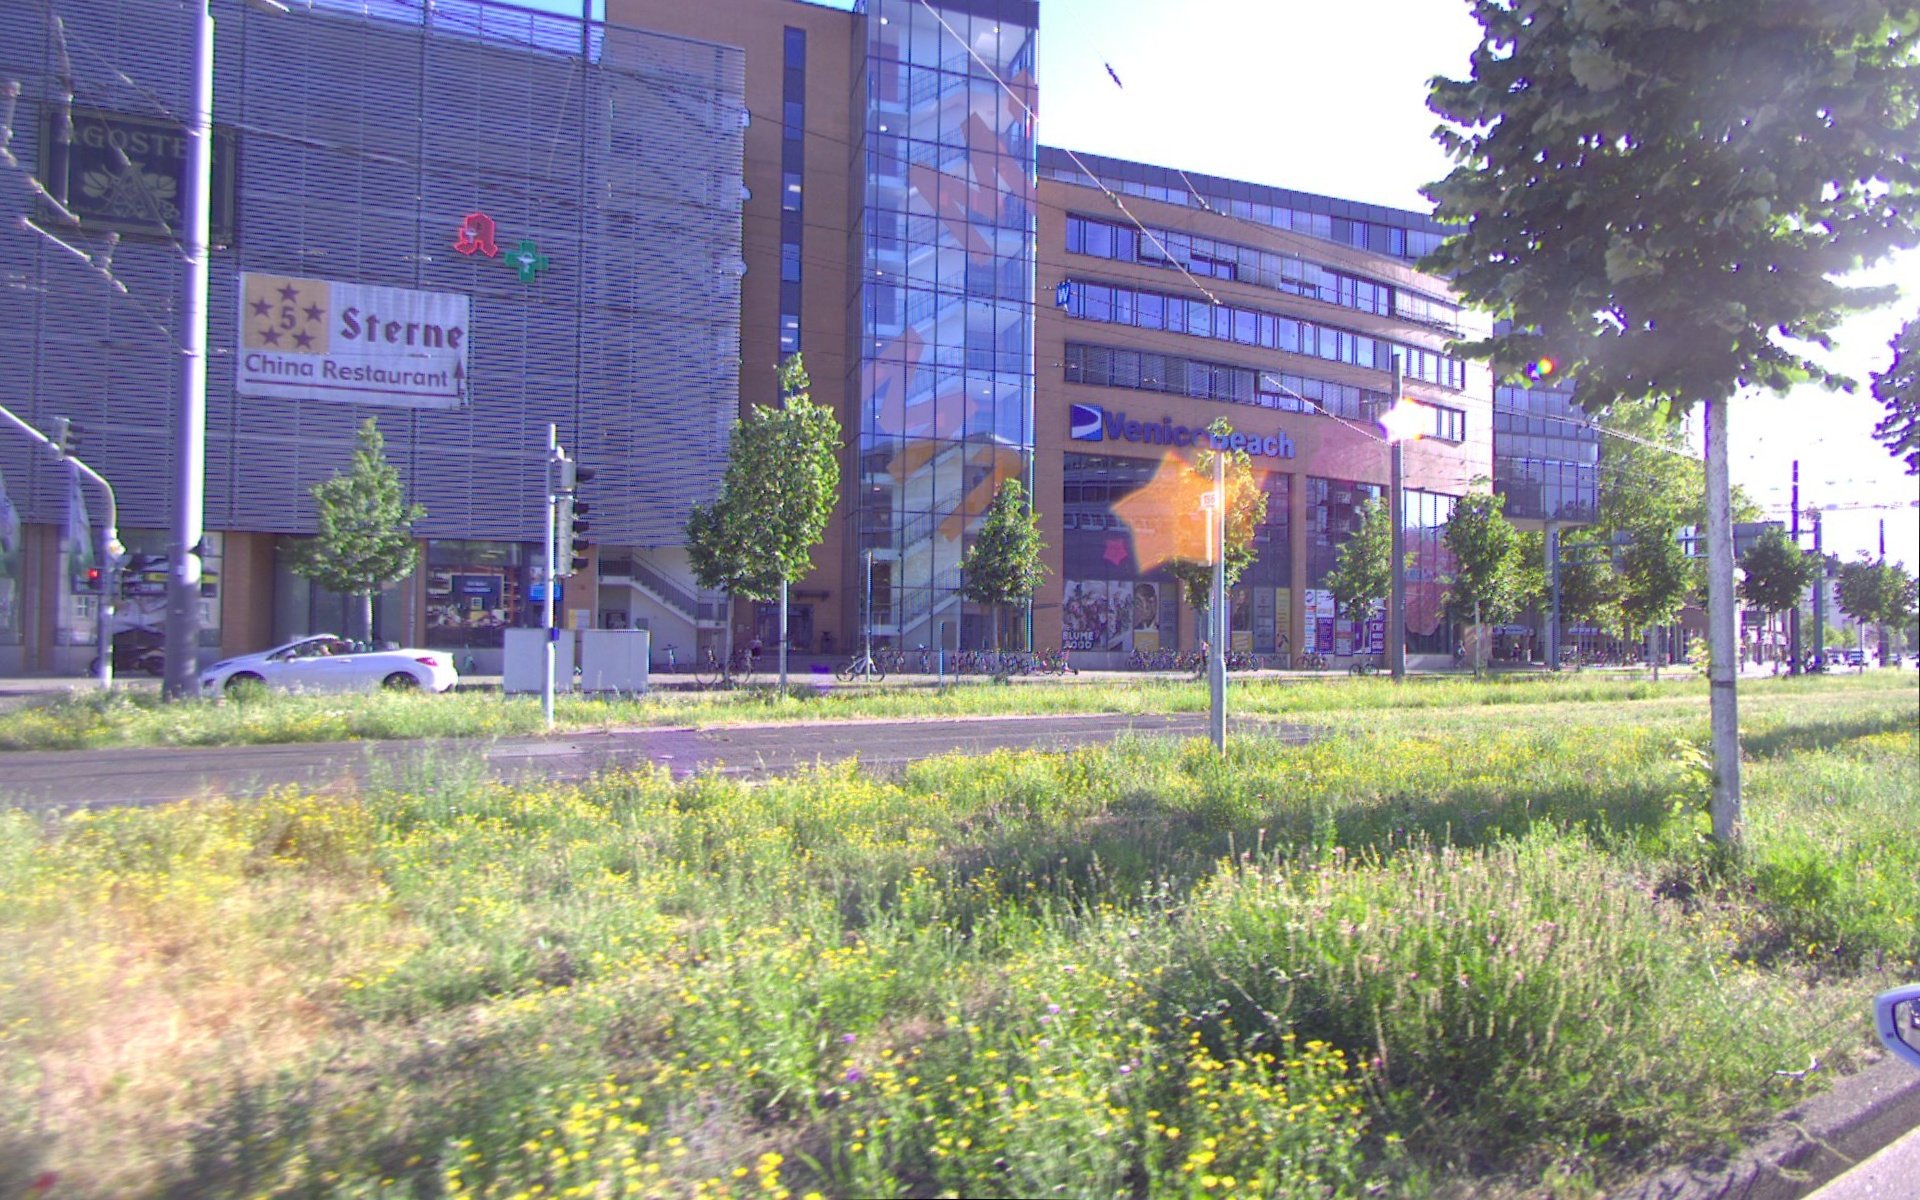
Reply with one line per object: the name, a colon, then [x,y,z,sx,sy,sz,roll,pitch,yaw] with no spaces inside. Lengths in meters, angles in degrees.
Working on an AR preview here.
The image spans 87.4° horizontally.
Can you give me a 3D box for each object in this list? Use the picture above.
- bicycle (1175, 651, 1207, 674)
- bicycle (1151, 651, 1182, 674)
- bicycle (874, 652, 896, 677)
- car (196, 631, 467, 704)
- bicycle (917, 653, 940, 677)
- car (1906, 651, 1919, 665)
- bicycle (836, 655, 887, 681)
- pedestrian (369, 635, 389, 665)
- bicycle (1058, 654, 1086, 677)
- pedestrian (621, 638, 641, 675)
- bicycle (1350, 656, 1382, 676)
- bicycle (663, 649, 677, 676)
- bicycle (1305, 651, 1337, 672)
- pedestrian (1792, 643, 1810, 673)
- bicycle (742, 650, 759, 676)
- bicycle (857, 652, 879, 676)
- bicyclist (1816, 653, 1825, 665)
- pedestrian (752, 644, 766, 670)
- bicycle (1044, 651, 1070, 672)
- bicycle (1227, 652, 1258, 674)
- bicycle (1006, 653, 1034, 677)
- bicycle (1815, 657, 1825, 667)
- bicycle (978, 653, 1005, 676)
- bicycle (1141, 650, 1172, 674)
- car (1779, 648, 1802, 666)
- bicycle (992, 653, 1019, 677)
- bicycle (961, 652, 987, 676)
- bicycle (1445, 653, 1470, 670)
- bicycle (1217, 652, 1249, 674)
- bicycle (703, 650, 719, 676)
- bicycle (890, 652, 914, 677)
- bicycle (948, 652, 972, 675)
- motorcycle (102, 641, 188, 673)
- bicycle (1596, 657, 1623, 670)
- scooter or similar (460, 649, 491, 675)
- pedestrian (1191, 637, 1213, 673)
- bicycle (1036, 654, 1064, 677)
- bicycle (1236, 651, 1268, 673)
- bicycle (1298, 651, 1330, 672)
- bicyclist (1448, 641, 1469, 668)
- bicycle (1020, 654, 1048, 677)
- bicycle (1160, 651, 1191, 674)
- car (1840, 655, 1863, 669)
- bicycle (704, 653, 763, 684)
bicycle: [11.261,3.037,48.965,0.484,1.063,1.759,2,-2,-26]
bicycle: [9.917,2.981,48.231,0.484,1.063,1.759,2,-2,-26]
bicycle: [-3.024,2.583,40.500,0.483,0.938,1.765,1,-2,-18]
car: [-12.474,1.357,20.309,4.341,1.345,1.803,2,-3,-22]
bicycle: [-1.316,2.664,41.355,0.483,0.938,1.765,1,-2,-18]
car: [107.195,6.449,112.278,1.723,1.524,3.865,-1,-3,38]
bicycle: [-3.460,2.388,35.324,1.746,0.880,0.384,2,-2,-23]
pedestrian: [-20.527,1.756,35.507,0.417,1.052,0.566,1,-2,-12]
bicycle: [4.870,2.850,43.732,0.555,0.938,1.765,1,-2,-18]
pedestrian: [-11.872,2.031,36.242,0.621,1.306,0.447,2,-2,-22]
bicycle: [18.399,3.002,45.532,1.753,0.880,0.460,2,-2,-35]
bicycle: [-10.515,2.243,36.400,0.455,0.938,1.395,1,-2,-18]
bicycle: [19.290,3.302,53.673,0.484,1.063,1.759,2,-2,-26]
pedestrian: [60.035,4.146,71.743,0.828,2.040,0.729,2,-1,-30]
bicycle: [-7.979,2.391,38.220,0.455,0.938,1.395,1,-2,-18]
bicycle: [-3.687,2.559,40.294,0.483,0.938,1.765,1,-2,-18]
bicyclist: [98.219,6.757,114.682,0.749,1.393,0.945,-1,-3,44]
pedestrian: [-8.337,2.353,41.677,0.443,1.068,0.627,2,-2,-22]
bicycle: [4.560,2.869,47.133,0.555,0.938,1.765,1,-2,-18]
bicycle: [14.234,3.163,50.663,0.484,1.063,1.759,2,-2,-26]
bicycle: [2.551,2.761,42.827,0.555,0.938,1.765,1,-2,-18]
bicycle: [98.237,7.031,114.750,0.643,1.099,2.909,-1,-3,44]
bicycle: [1.313,2.714,42.385,0.555,0.938,1.765,1,-2,-18]
bicycle: [9.389,2.960,47.965,0.484,1.063,1.759,2,-2,-26]
car: [99.459,6.843,120.253,1.972,2.040,3.979,-1,-3,42]
bicycle: [1.927,2.737,42.586,0.555,0.938,1.765,1,-2,-18]
bicycle: [0.580,2.686,42.101,0.555,0.938,1.765,1,-2,-18]
bicycle: [28.003,3.460,56.546,1.871,0.922,0.494,2,-2,-38]
bicycle: [13.641,3.137,50.287,0.484,1.063,1.759,2,-2,-26]
bicycle: [-9.316,2.337,37.564,0.455,0.938,1.395,1,-2,-18]
bicycle: [-2.376,2.609,40.792,0.555,0.938,1.765,1,-2,-18]
bicycle: [-0.019,2.640,41.919,0.483,0.938,1.765,1,-2,-18]
motorcycle: [-24.879,1.739,30.696,1.993,0.932,0.427,2,-2,-20]
bicycle: [50.402,4.937,77.981,1.739,0.964,0.540,0,-2,30]
scooter or similar: [-16.840,2.147,34.917,0.887,0.905,0.290,2,-2,-18]
pedestrian: [11.474,2.607,47.613,0.667,1.690,0.742,2,-2,-28]
bicycle: [3.860,2.810,43.291,0.555,0.938,1.765,1,-2,-18]
bicycle: [14.824,3.144,51.025,0.484,1.063,1.759,2,-2,-26]
bicycle: [18.779,3.279,53.319,0.484,1.063,1.759,2,-2,-26]
bicyclist: [28.105,3.055,56.611,1.007,1.484,0.673,2,-2,-37]
bicycle: [3.164,2.784,43.031,0.555,0.938,1.765,1,-2,-18]
bicycle: [10.405,3.001,48.479,0.484,1.063,1.759,2,-2,-26]
car: [104.570,7.252,117.821,1.972,1.617,4.713,-2,-3,42]
bicycle: [-7.084,2.149,31.374,1.746,0.935,0.384,2,-2,-23]
